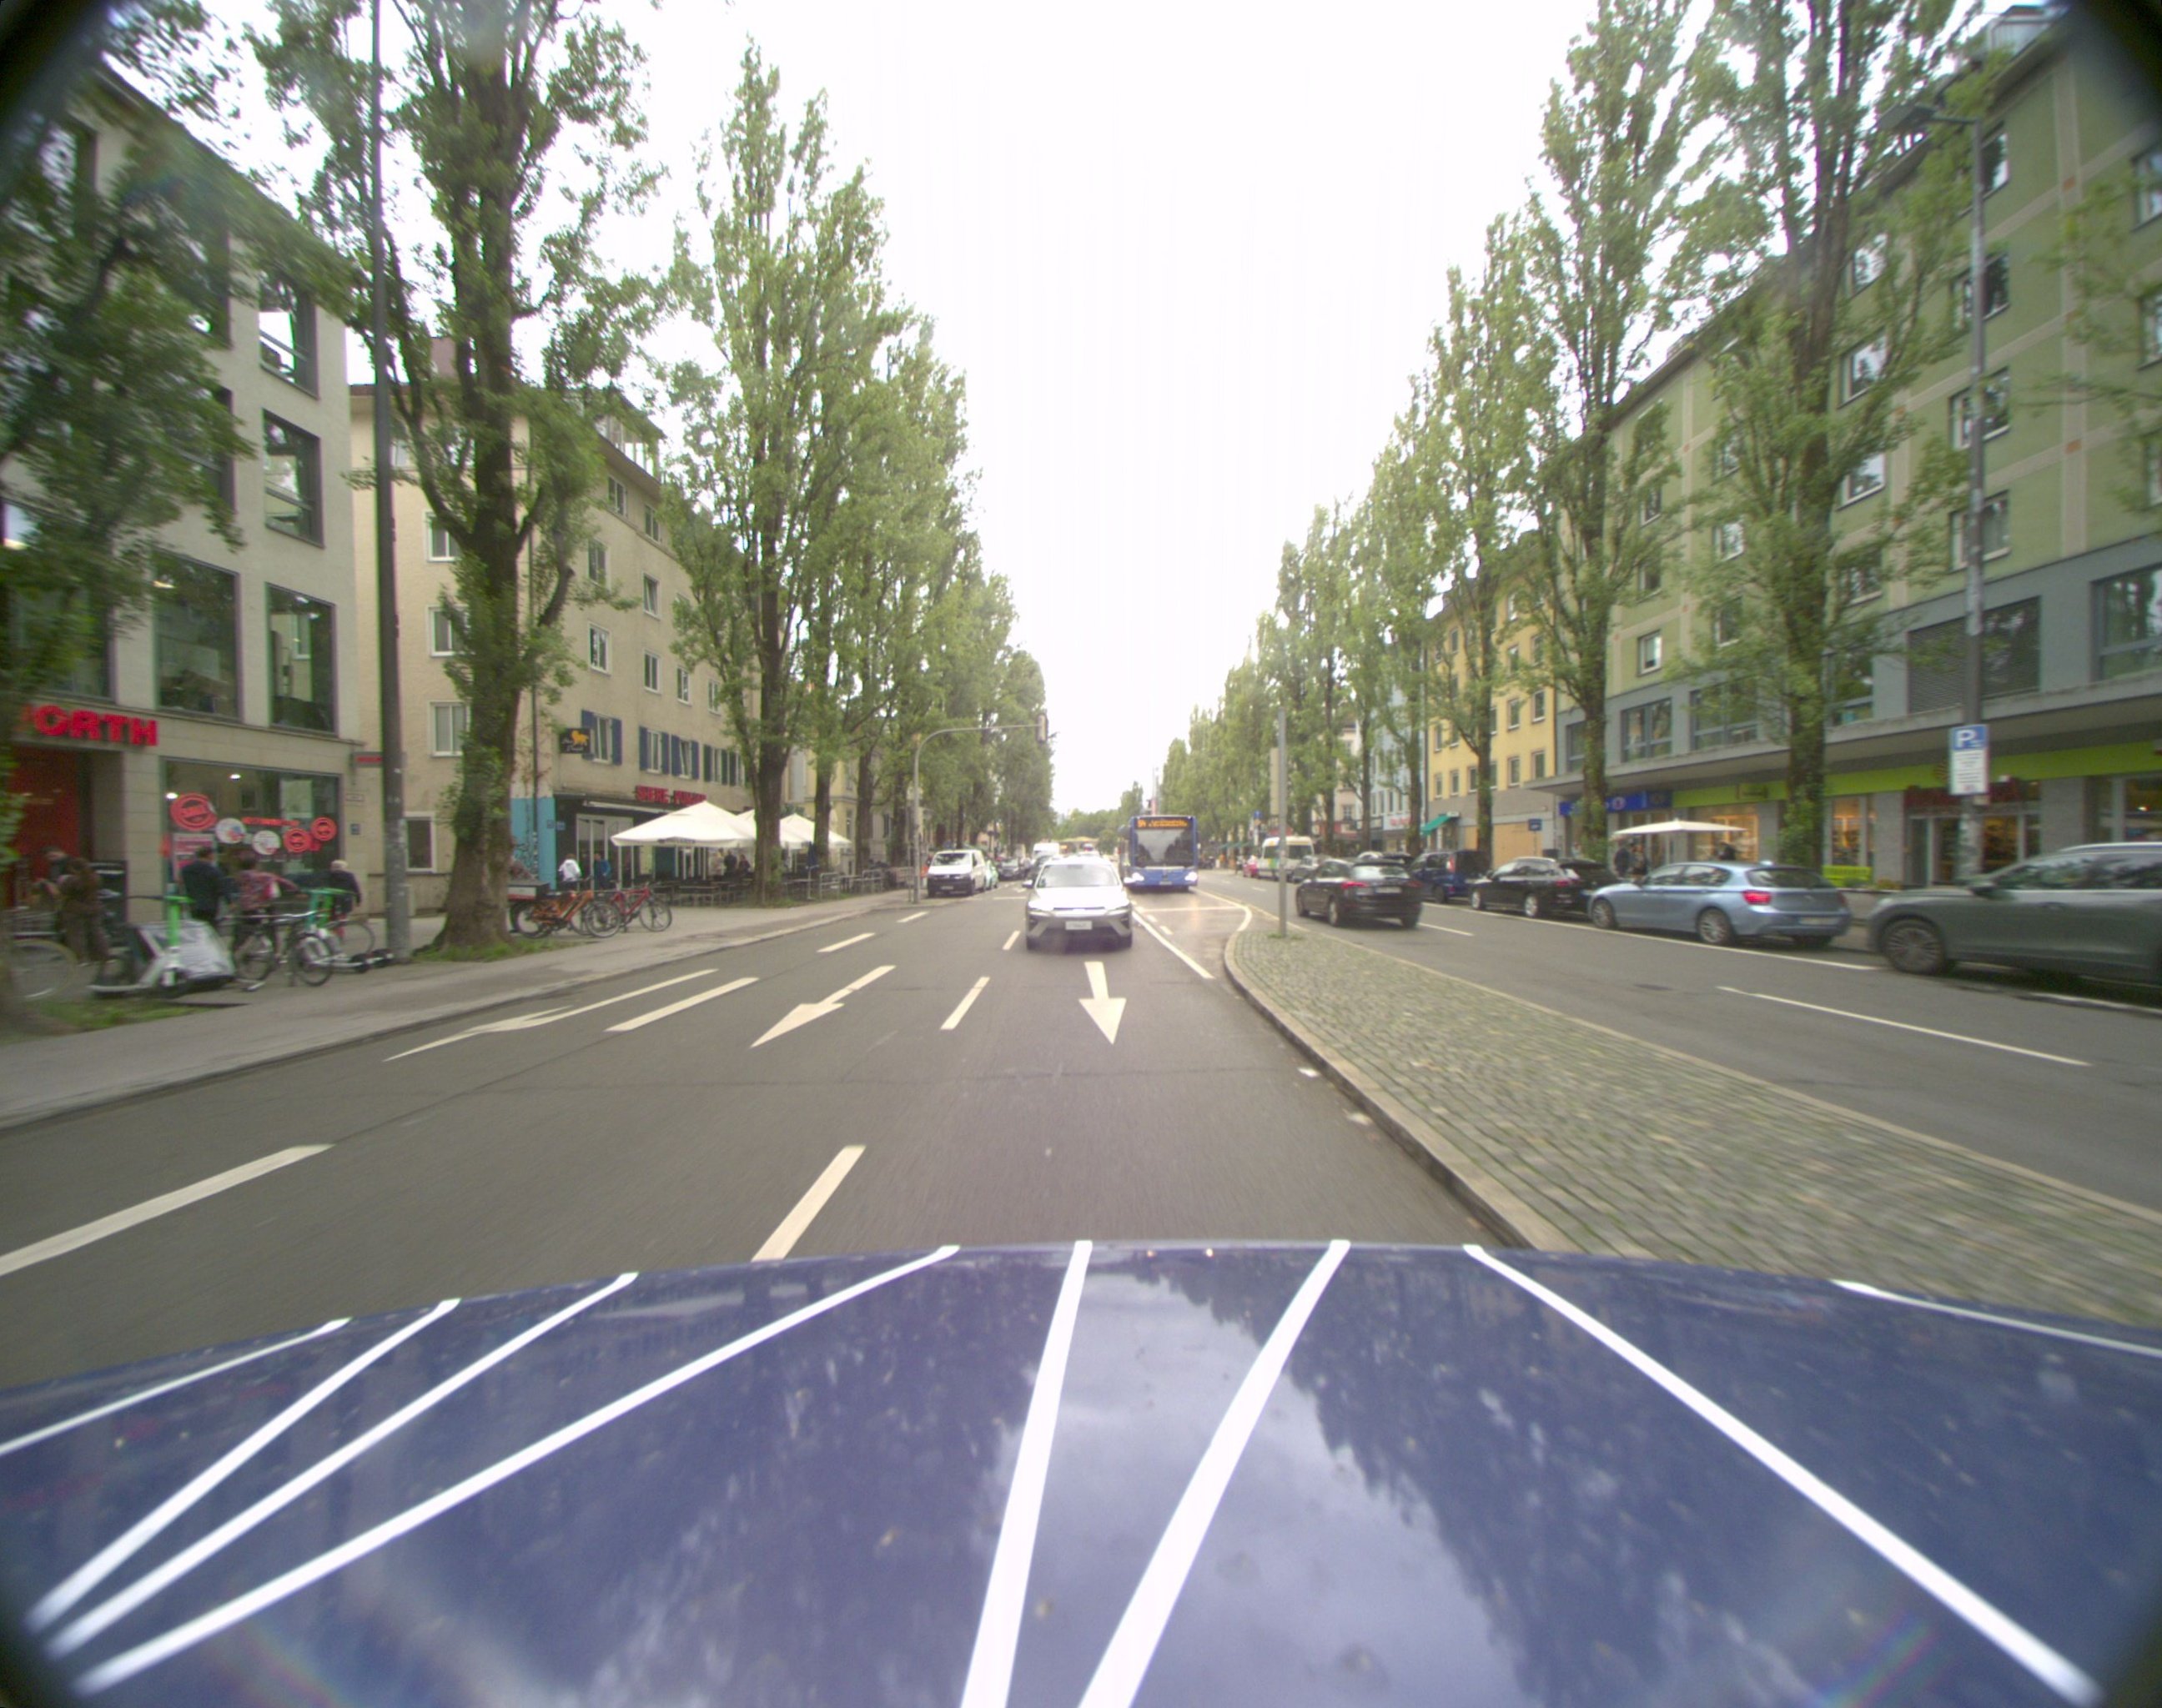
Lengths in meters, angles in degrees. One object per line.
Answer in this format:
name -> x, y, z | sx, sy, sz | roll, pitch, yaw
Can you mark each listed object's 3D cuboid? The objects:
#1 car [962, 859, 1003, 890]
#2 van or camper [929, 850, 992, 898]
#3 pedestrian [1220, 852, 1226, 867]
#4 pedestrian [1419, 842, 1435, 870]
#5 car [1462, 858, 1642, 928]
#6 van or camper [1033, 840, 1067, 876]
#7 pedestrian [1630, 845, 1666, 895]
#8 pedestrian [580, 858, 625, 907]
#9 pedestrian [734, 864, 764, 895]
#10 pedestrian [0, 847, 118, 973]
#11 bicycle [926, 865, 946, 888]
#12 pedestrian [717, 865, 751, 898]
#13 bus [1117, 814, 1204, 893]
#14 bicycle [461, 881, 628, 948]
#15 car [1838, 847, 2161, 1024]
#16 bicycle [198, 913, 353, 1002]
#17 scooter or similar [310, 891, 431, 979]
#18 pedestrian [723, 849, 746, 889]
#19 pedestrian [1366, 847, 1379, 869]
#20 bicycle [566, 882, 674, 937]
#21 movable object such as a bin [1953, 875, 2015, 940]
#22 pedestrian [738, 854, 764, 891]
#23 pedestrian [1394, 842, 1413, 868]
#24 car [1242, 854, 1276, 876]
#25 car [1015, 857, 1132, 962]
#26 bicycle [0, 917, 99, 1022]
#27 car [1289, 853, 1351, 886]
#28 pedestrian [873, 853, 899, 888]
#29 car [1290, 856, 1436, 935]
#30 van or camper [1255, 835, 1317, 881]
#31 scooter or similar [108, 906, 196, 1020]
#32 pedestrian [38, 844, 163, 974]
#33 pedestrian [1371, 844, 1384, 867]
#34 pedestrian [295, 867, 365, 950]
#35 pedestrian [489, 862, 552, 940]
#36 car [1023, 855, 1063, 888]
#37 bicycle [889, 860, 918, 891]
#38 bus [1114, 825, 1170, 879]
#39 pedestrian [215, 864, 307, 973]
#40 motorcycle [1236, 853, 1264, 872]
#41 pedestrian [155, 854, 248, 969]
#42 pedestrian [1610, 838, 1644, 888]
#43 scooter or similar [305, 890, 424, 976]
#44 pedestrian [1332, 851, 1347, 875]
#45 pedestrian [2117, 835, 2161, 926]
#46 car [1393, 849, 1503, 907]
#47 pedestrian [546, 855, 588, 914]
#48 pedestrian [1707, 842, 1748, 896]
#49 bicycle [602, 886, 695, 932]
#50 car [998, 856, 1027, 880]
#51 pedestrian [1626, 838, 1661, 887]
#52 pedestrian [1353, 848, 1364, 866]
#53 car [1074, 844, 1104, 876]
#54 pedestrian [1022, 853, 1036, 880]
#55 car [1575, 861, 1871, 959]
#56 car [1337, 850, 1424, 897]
car -> -4.874, 0.998, 38.095 | 1.475, 1.389, 3.483 | -1, 0, 2
van or camper -> -5.133, 0.789, 32.901 | 1.795, 1.894, 4.566 | -1, 0, 2
pedestrian -> 15.834, 0.620, 84.746 | 0.609, 1.580, 0.551 | 0, 1, 12
pedestrian -> 21.046, 0.126, 46.223 | 0.640, 1.694, 0.724 | -1, 1, 1
car -> 11.396, 0.860, 18.829 | 1.707, 1.438, 4.585 | 0, 1, 1
van or camper -> -2.211, 0.247, 56.040 | 1.998, 2.470, 6.644 | -1, 0, 2
pedestrian -> 19.264, 0.536, 25.829 | 0.723, 1.641, 0.712 | -1, 1, 2
pedestrian -> -15.847, 0.931, 25.200 | 0.764, 1.594, 1.016 | -2, 1, 2
pedestrian -> -13.306, 1.019, 30.484 | 0.667, 1.209, 1.023 | -1, 0, 5
pedestrian -> -15.645, 0.830, 11.606 | 0.753, 1.843, 0.821 | -2, 1, 3
bicycle -> -7.406, 1.116, 38.934 | 0.568, 1.072, 2.503 | -1, 0, -1
pedestrian -> -13.406, 1.053, 29.399 | 0.775, 1.209, 1.023 | -1, 0, 5
bus -> 3.255, -0.050, 34.647 | 2.806, 2.886, 12.857 | -1, 0, 1
bicycle -> -10.459, 1.174, 14.873 | 2.577, 1.208, 0.965 | -1, 1, 1
car -> 11.222, 0.773, 8.115 | 1.784, 1.671, 4.586 | 1, 1, 3
bicycle -> -10.135, 1.281, 9.561 | 1.842, 1.003, 0.393 | 0, 1, 10
scooter or similar -> -10.589, 1.178, 11.355 | 0.285, 1.163, 1.246 | -1, 2, 43
pedestrian -> -15.031, 0.628, 33.000 | 0.629, 1.709, 0.681 | -2, 1, 2
pedestrian -> 19.482, 0.282, 50.783 | 0.649, 1.430, 0.551 | -1, 1, -4
bicycle -> -9.904, 1.191, 16.375 | 1.902, 1.120, 0.686 | -1, 1, 1
movable object such as a bin -> 15.588, 0.905, 13.110 | 0.731, 1.041, 0.661 | -1, 1, -38
pedestrian -> -14.289, 0.789, 32.893 | 0.696, 1.568, 0.874 | -2, 1, 2
pedestrian -> 18.174, 0.050, 42.820 | 0.769, 1.430, 0.551 | -1, 1, -4
car -> 12.215, 0.737, 52.323 | 1.559, 1.403, 3.761 | -1, 0, 2
car -> -0.095, 0.883, 13.840 | 1.758, 1.529, 3.916 | -3, 0, 1
bicycle -> -11.837, 1.276, 7.948 | 0.392, 1.057, 2.006 | 0, 0, 5
car -> 11.988, 0.736, 38.376 | 1.707, 1.520, 4.260 | 0, 1, 0
pedestrian -> -10.011, 0.855, 39.015 | 0.941, 1.756, 0.837 | -1, 1, 39
car -> 6.089, 0.829, 16.933 | 1.761, 1.457, 4.049 | 1, 1, 1
van or camper -> 12.121, 0.204, 45.441 | 2.131, 2.536, 6.644 | -1, 0, 2
scooter or similar -> -10.624, 1.214, 8.682 | 1.241, 1.163, 0.404 | 0, 2, 31
pedestrian -> -14.499, 0.790, 11.265 | 0.753, 1.859, 0.821 | -1, 1, 4
pedestrian -> 22.198, 0.111, 56.933 | 0.723, 1.641, 0.706 | -1, 1, 2
pedestrian -> -14.178, 1.006, 14.358 | 0.566, 1.511, 0.697 | -1, 1, 4
pedestrian -> -11.846, 0.979, 16.066 | 0.711, 1.580, 0.794 | 1, 1, 8
car -> -1.875, 0.851, 38.886 | 1.758, 1.529, 3.916 | -2, 0, 1
bicycle -> -8.463, 0.994, 36.134 | 0.829, 1.403, 2.594 | -2, 0, -25
bus -> 3.566, -0.110, 47.553 | 2.806, 2.886, 12.858 | -1, 0, 2
pedestrian -> -12.819, 0.984, 11.898 | 0.547, 1.639, 0.751 | -1, 1, 4
motorcycle -> 13.007, 0.661, 58.595 | 2.023, 1.413, 0.570 | -1, 1, -6
pedestrian -> -13.665, 0.871, 11.821 | 0.566, 1.732, 0.697 | -1, 1, 4
pedestrian -> 20.123, 0.323, 28.035 | 0.749, 1.784, 0.716 | -1, 1, 2
scooter or similar -> -10.925, 1.182, 11.617 | 0.306, 1.163, 1.246 | -1, 1, 40
pedestrian -> 16.005, 0.559, 47.095 | 0.676, 1.430, 0.611 | 0, 1, 40
pedestrian -> 20.070, 0.480, 14.073 | 0.710, 1.663, 0.756 | -1, 1, 2
car -> 11.748, 0.713, 24.606 | 1.621, 1.677, 3.770 | 2, 1, -1
pedestrian -> -14.834, 0.873, 21.939 | 0.668, 1.654, 0.692 | -2, 1, 0
pedestrian -> 21.373, 0.479, 25.130 | 0.723, 1.744, 0.716 | -1, 1, 2
bicycle -> -9.836, 1.244, 17.308 | 1.844, 1.003, 0.503 | -1, 1, 1
car -> -4.603, 0.928, 51.536 | 1.475, 1.518, 3.602 | -1, 0, 2
pedestrian -> 20.750, 0.300, 28.030 | 0.749, 1.784, 0.716 | -1, 1, 2
pedestrian -> 21.611, 0.216, 59.191 | 0.609, 1.430, 0.551 | -1, 1, 0
car -> 0.616, 0.425, 55.875 | 2.024, 2.235, 4.411 | -2, 0, 1
pedestrian -> -3.460, 0.843, 50.400 | 0.791, 1.747, 0.769 | -1, 1, -9
car -> 11.322, 0.883, 13.914 | 1.662, 1.409, 4.400 | 0, 1, 0
car -> 11.629, 0.698, 29.840 | 1.707, 1.623, 4.503 | 0, 1, 1
